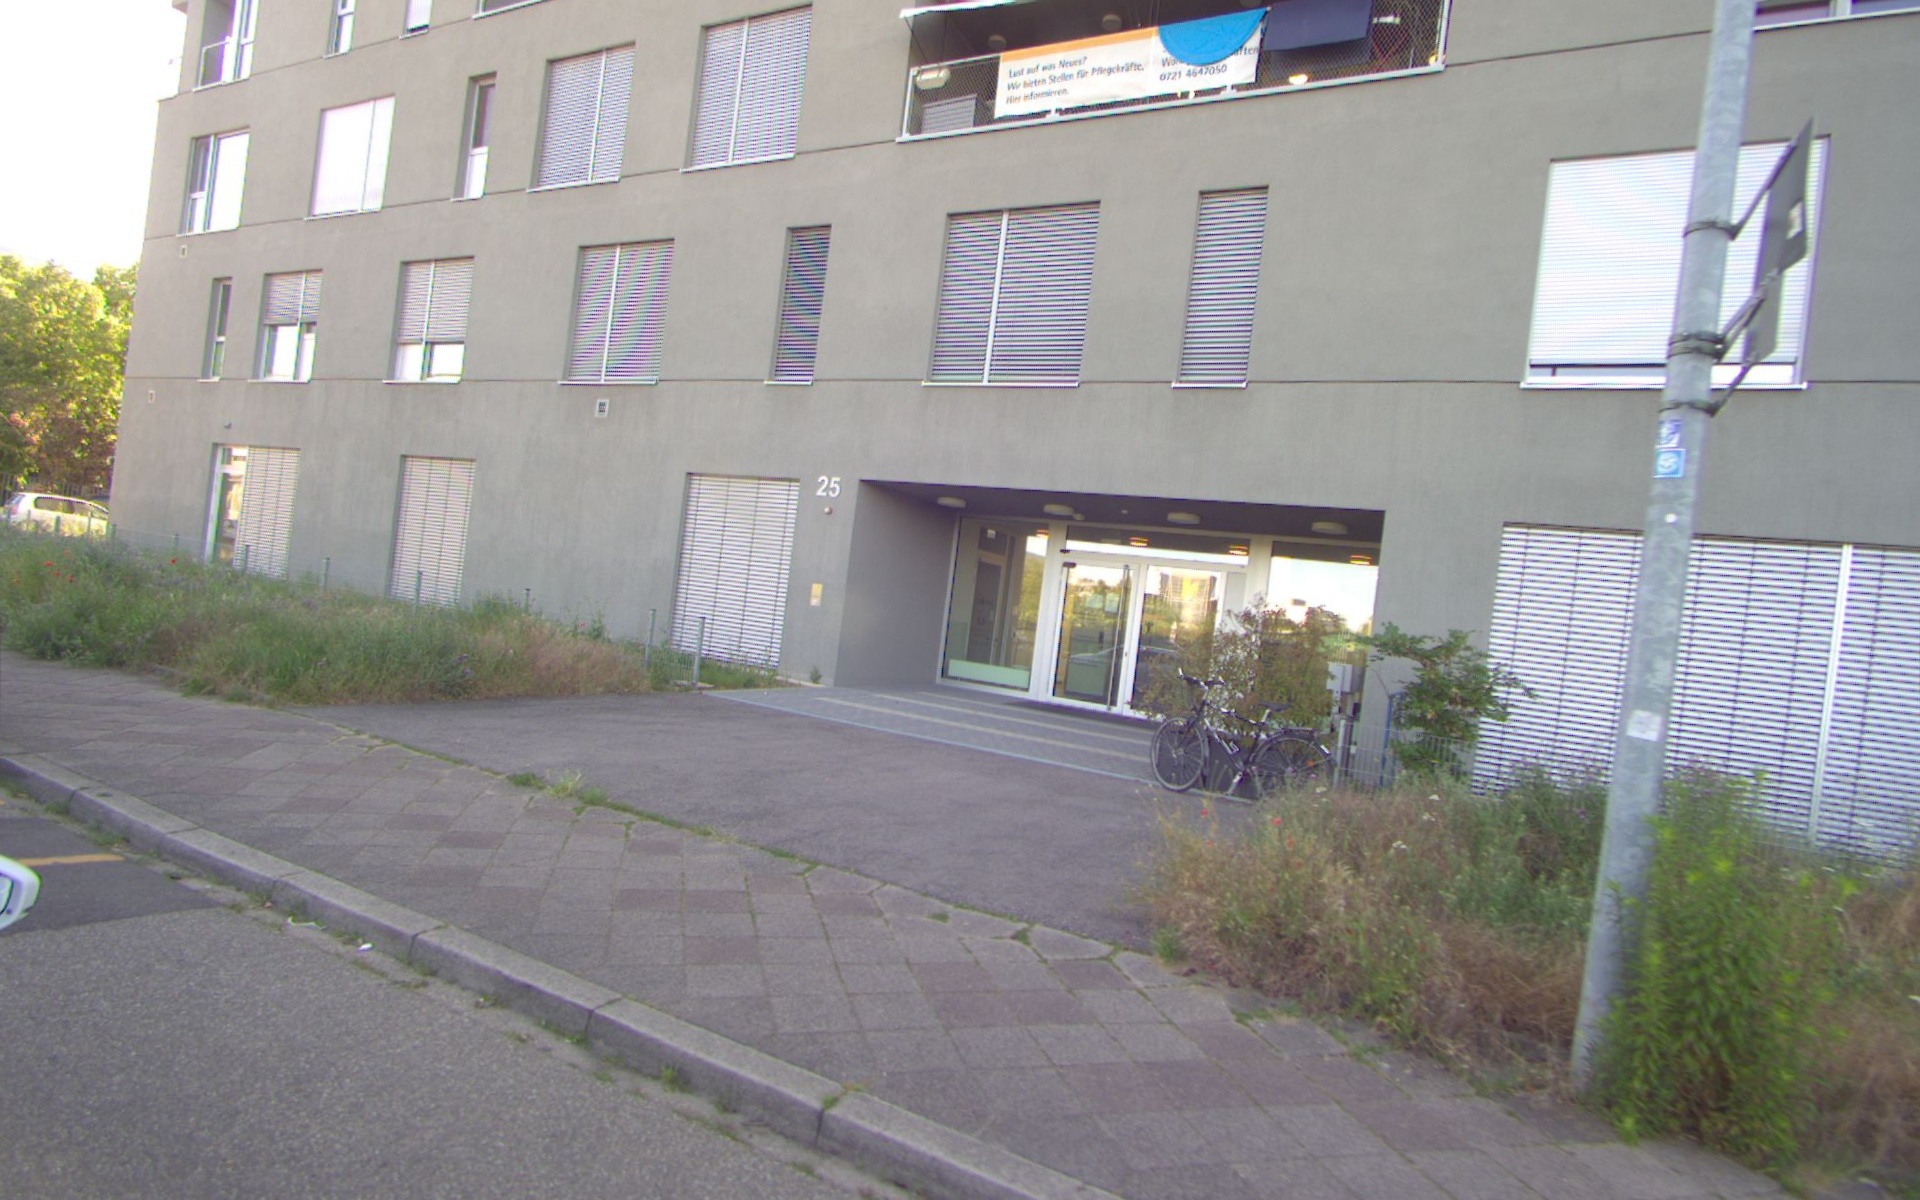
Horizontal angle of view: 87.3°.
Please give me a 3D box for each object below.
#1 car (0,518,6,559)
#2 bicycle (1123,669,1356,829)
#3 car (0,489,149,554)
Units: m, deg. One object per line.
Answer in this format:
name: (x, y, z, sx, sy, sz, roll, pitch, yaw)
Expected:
car: (-7.556, -0.049, 5.687, 4.507, 1.445, 1.750, 7, -2, 29)
bicycle: (2.461, 1.279, 8.966, 1.812, 1.074, 0.553, 7, -1, 32)
car: (-27.675, -2.428, 31.316, 1.687, 1.476, 3.330, 7, -1, 33)
